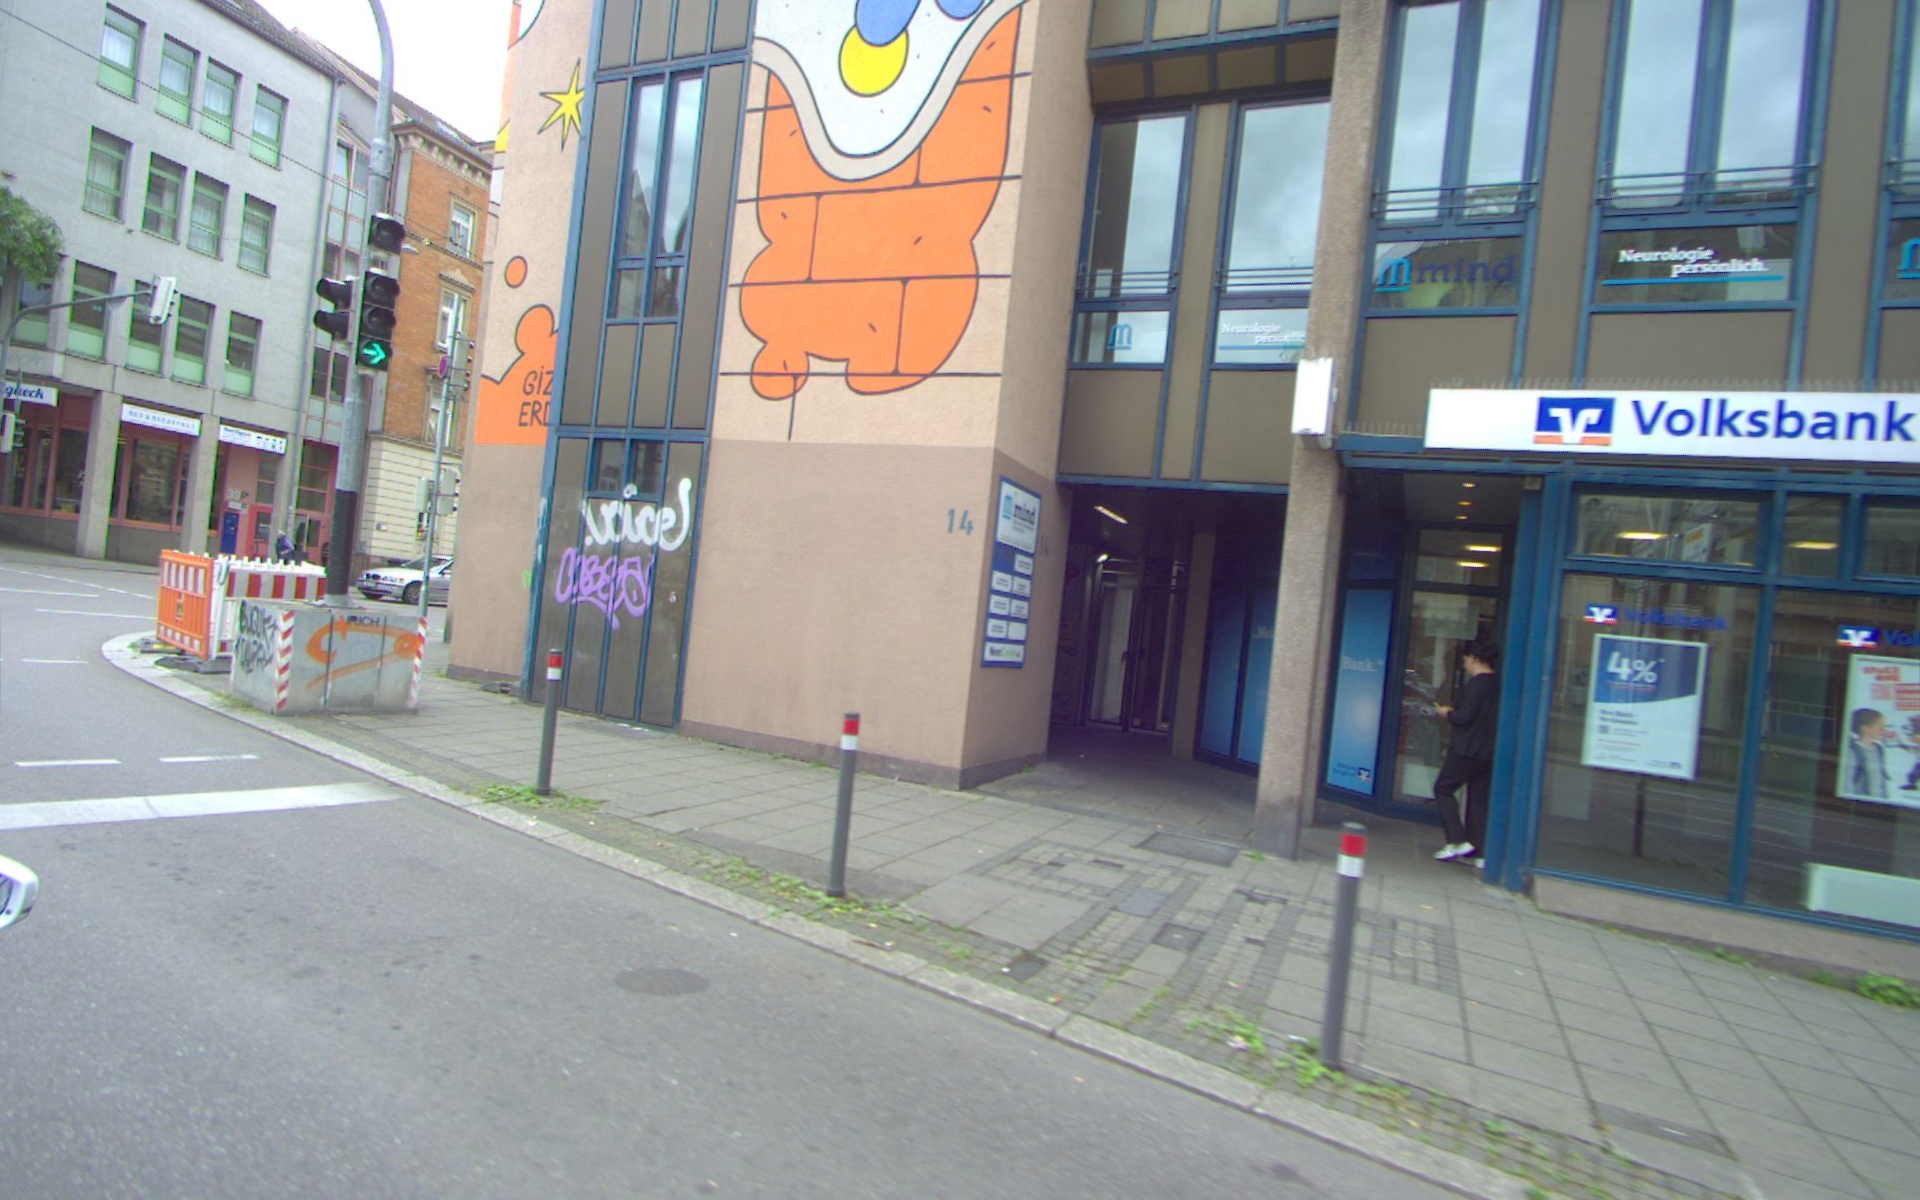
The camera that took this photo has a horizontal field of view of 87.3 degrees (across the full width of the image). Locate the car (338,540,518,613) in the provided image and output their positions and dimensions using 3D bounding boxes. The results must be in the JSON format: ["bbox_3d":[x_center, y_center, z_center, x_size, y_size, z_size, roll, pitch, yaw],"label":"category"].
[{"bbox_3d":[-14.646,-0.587,27.960,1.820,1.445,4.163,8,-1,20],"label":"car"}]

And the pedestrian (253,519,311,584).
[{"bbox_3d":[-20.108,-1.435,29.851,1.112,1.733,0.851,8,0,-24],"label":"pedestrian"}]

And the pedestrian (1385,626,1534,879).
[{"bbox_3d":[3.864,1.140,7.783,0.780,1.742,0.772,8,0,29],"label":"pedestrian"}]
